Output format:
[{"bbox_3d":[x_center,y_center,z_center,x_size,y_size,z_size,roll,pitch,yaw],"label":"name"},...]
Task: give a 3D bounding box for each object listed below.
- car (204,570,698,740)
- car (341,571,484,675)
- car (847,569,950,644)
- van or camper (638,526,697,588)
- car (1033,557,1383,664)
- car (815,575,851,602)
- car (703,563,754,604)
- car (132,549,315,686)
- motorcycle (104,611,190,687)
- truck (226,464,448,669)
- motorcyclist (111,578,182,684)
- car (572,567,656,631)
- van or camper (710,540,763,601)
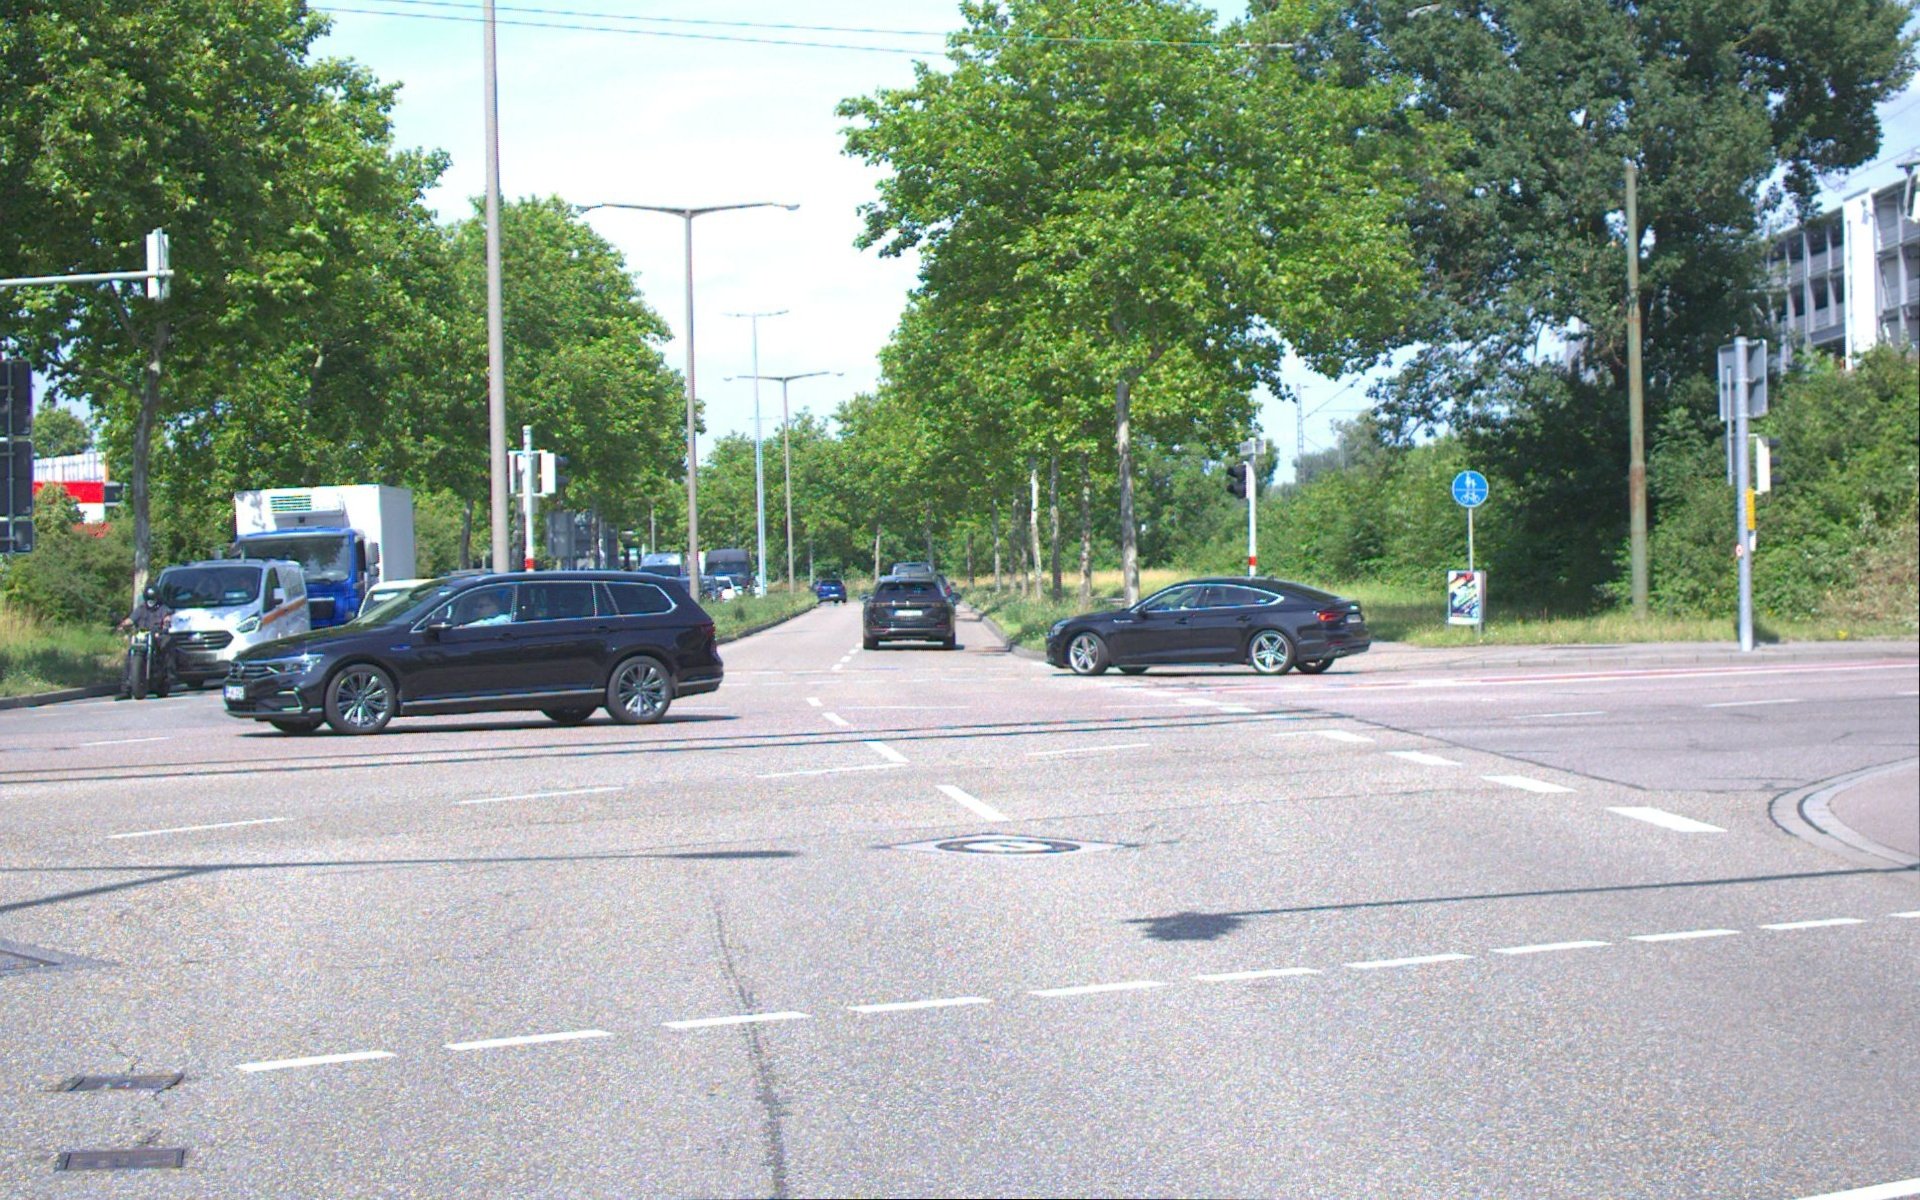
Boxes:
[{"bbox_3d":[-4.754,0.476,32.252,4.208,1.438,1.790,-1,1,-30],"label":"car"},{"bbox_3d":[-8.376,0.325,52.869,1.593,1.472,3.729,-2,1,-1],"label":"car"},{"bbox_3d":[-1.251,0.105,68.372,1.834,1.386,4.265,-1,1,-3],"label":"car"},{"bbox_3d":[-12.557,-1.860,147.892,2.015,2.579,5.517,-2,1,-1],"label":"van or camper"},{"bbox_3d":[3.551,0.152,49.227,4.611,1.458,1.912,0,1,22],"label":"car"},{"bbox_3d":[-7.172,-0.664,194.103,1.802,1.505,3.815,-1,1,-6],"label":"car"},{"bbox_3d":[-8.861,-0.645,131.842,1.689,1.505,3.815,-2,1,-1],"label":"car"},{"bbox_3d":[-11.334,0.218,53.229,1.976,1.992,5.032,-1,1,-3],"label":"car"},{"bbox_3d":[-11.380,0.672,48.174,0.688,0.988,2.217,-1,1,-1],"label":"motorcycle"},{"bbox_3d":[-11.415,-0.657,63.579,2.804,3.459,6.692,-3,1,-1],"label":"truck"},{"bbox_3d":[-11.417,0.427,48.265,0.743,1.465,0.987,-1,1,-1],"label":"motorcyclist"},{"bbox_3d":[-8.518,-0.054,84.889,1.689,1.467,3.815,-2,1,-1],"label":"car"},{"bbox_3d":[-9.126,-1.192,140.726,1.938,2.360,5.398,-2,0,-2],"label":"van or camper"}]
